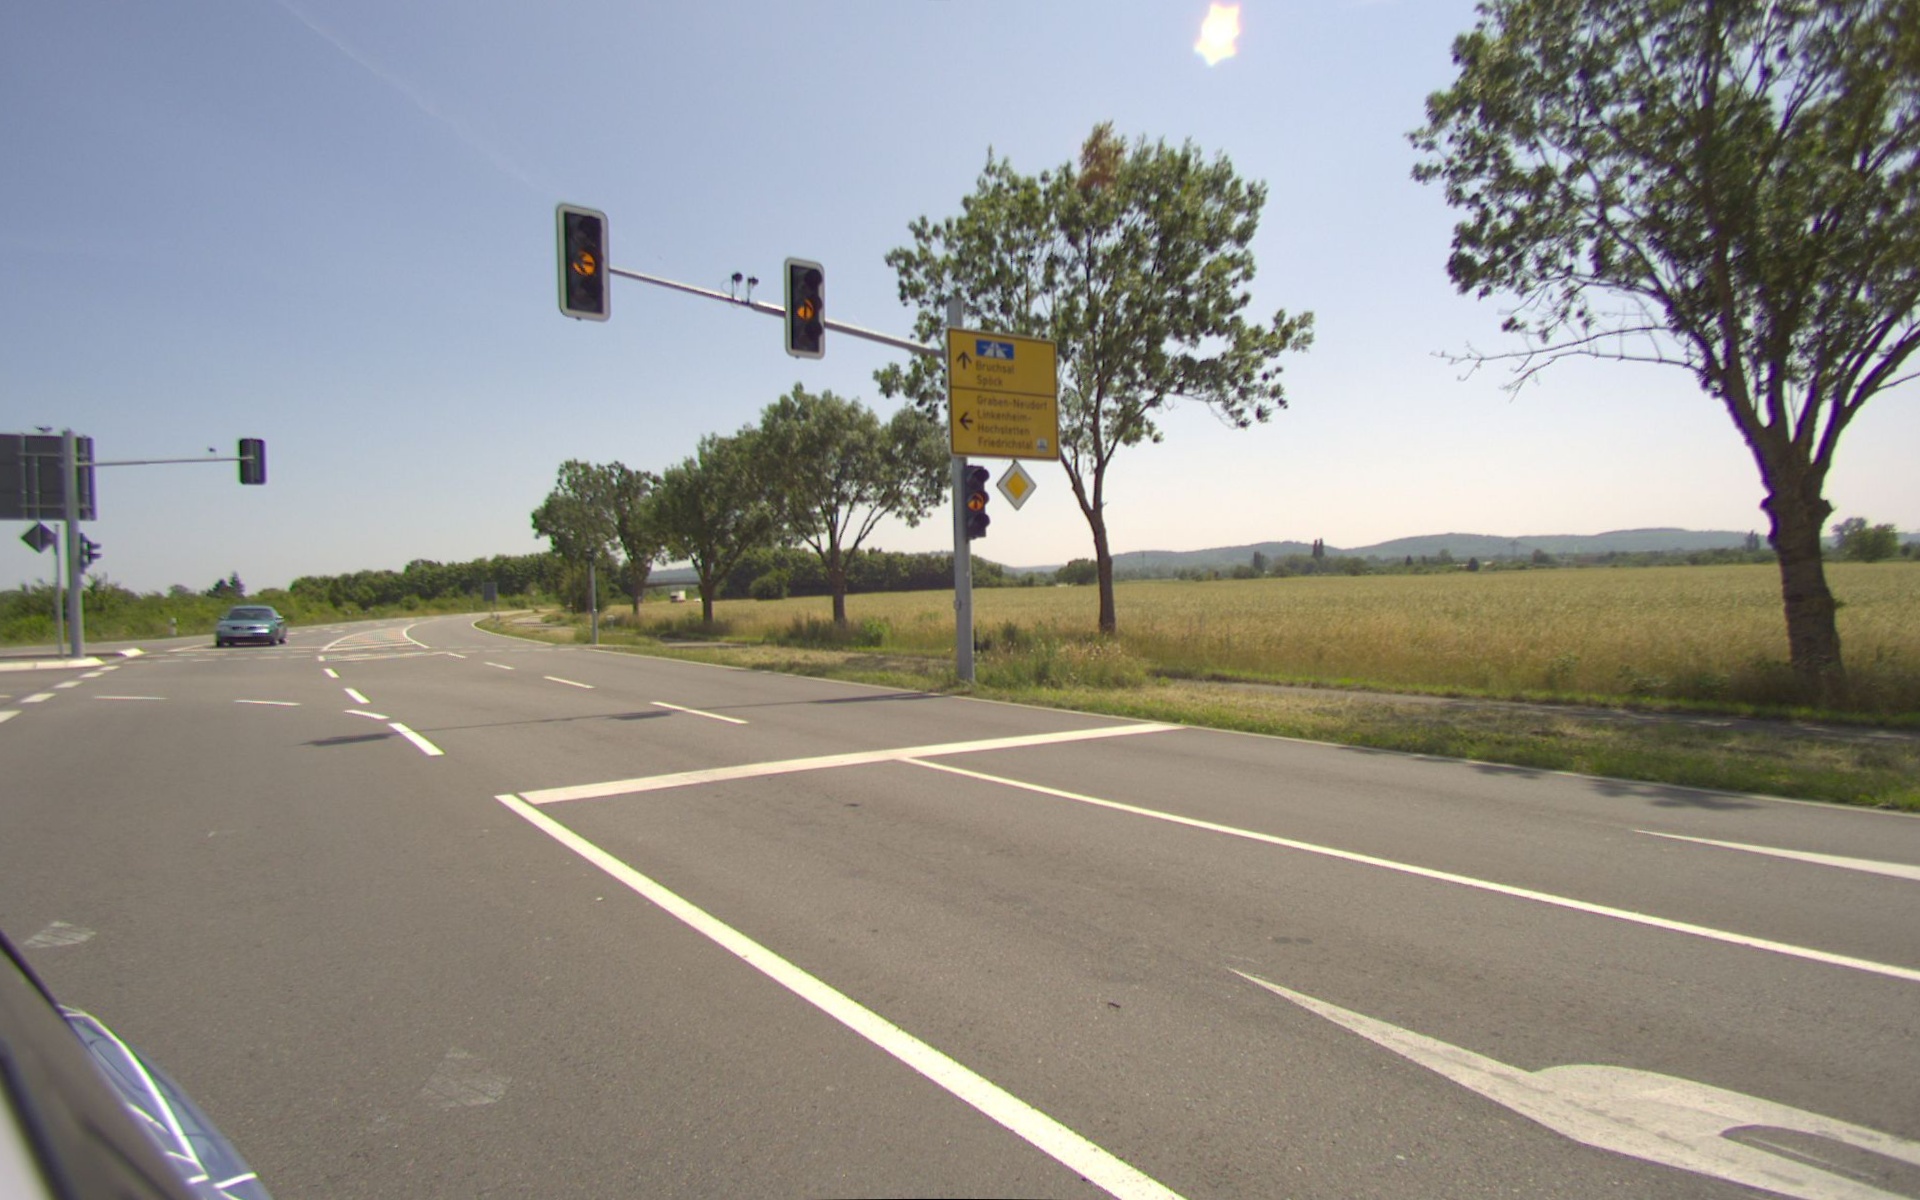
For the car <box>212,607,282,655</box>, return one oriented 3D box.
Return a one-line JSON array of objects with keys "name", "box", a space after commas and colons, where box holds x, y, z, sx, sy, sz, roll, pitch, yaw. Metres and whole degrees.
[{"name": "car", "box": [-25.468, 1.077, 36.270, 1.630, 1.578, 4.012, -1, -1, -29]}]
